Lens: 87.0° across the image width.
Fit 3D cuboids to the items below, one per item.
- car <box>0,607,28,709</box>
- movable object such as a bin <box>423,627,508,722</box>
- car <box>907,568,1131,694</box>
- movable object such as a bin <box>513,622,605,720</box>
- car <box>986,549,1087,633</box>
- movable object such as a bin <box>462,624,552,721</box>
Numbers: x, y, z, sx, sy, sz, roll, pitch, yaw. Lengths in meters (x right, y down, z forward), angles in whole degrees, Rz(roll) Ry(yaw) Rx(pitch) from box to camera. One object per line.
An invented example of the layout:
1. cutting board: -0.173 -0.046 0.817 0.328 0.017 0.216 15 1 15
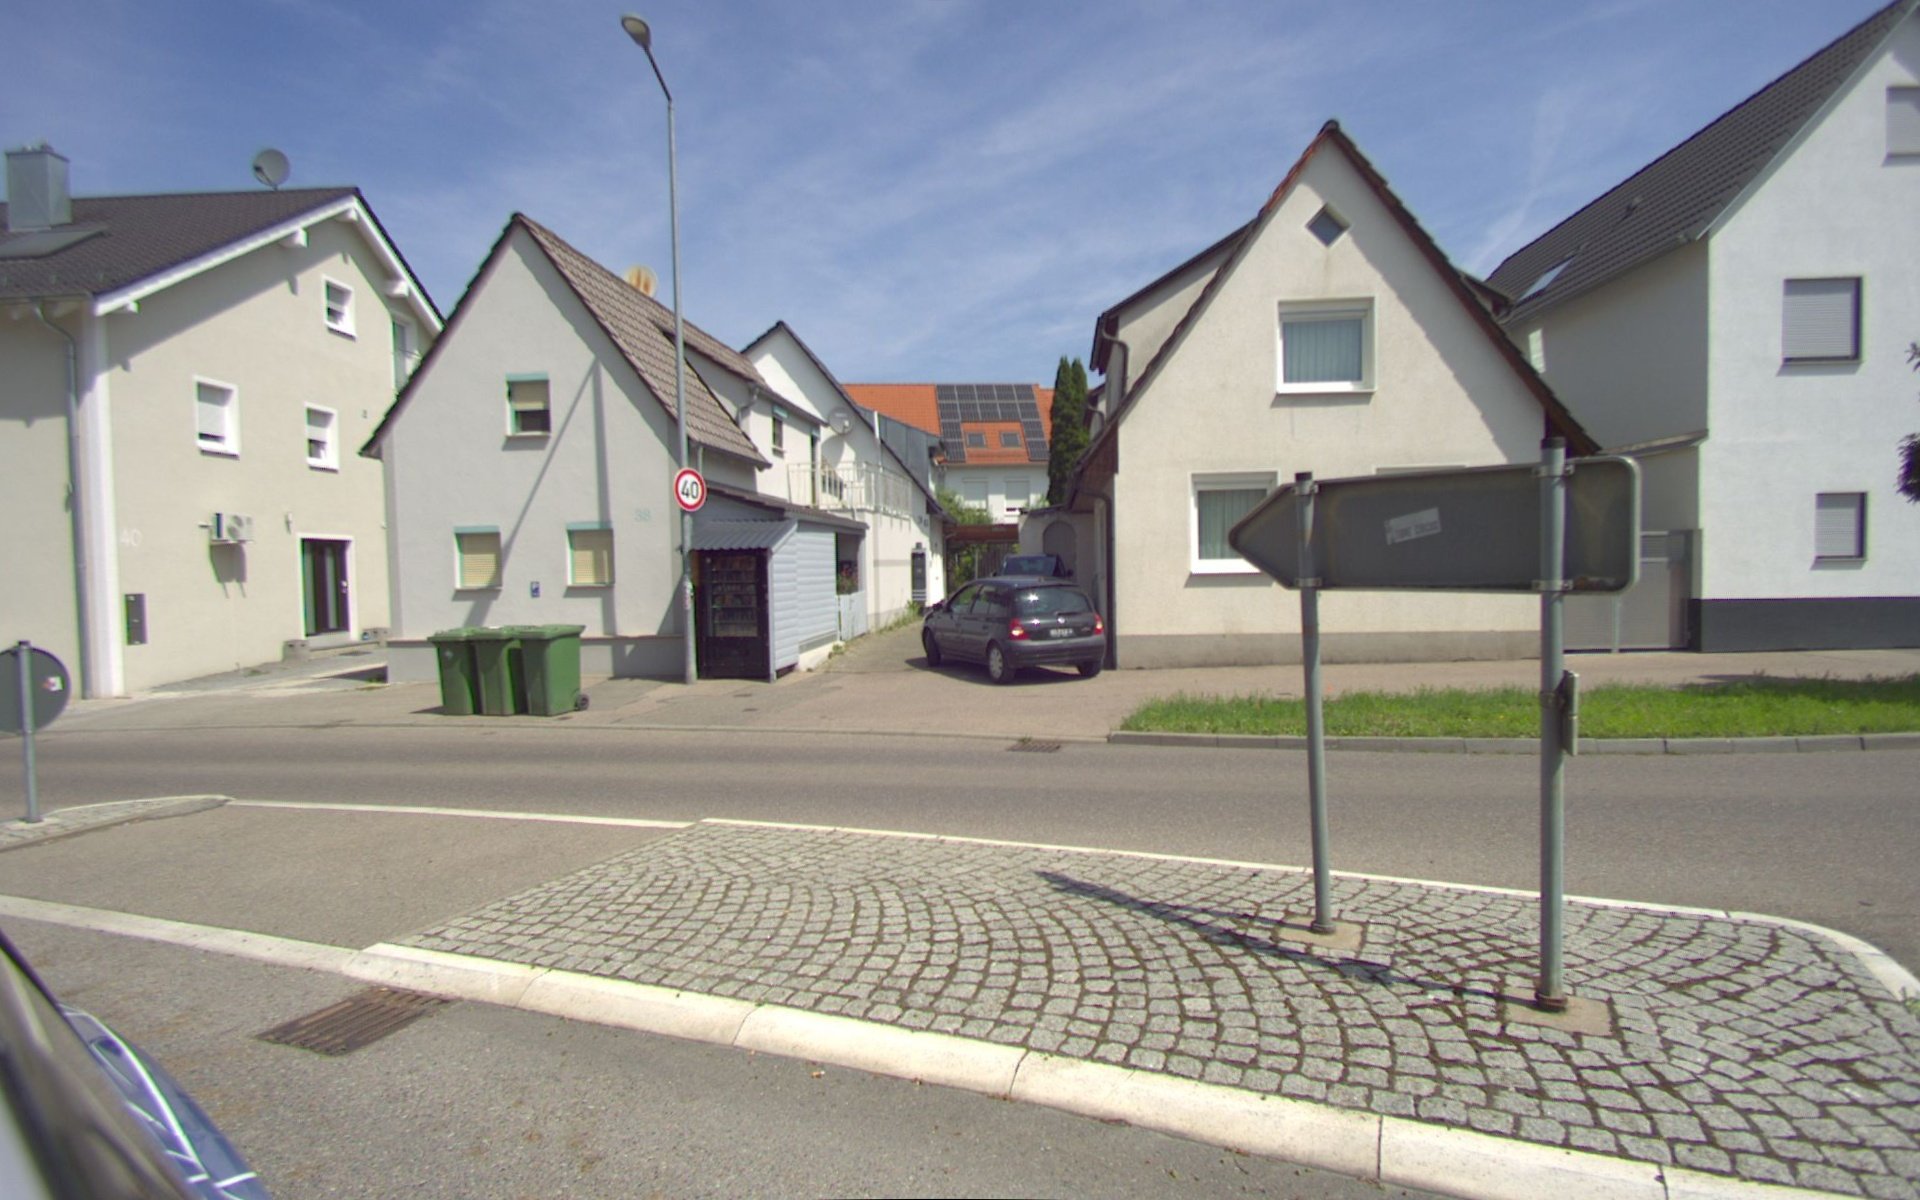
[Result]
1. car: -16.403 0.985 14.704 3.943 1.513 1.827 -2 3 0
2. movable object such as a bin: -6.181 0.928 12.678 0.626 1.101 0.640 -2 3 15
3. car: 0.719 0.332 15.011 1.748 1.451 3.860 -3 4 -23
4. movable object such as a bin: -4.855 0.852 12.275 0.718 1.084 0.680 -2 3 15
5. car: 1.813 -0.203 22.722 1.977 1.657 3.862 -2 1 8
6. movable object such as a bin: -5.556 0.877 12.437 0.627 1.084 0.729 -2 3 15
